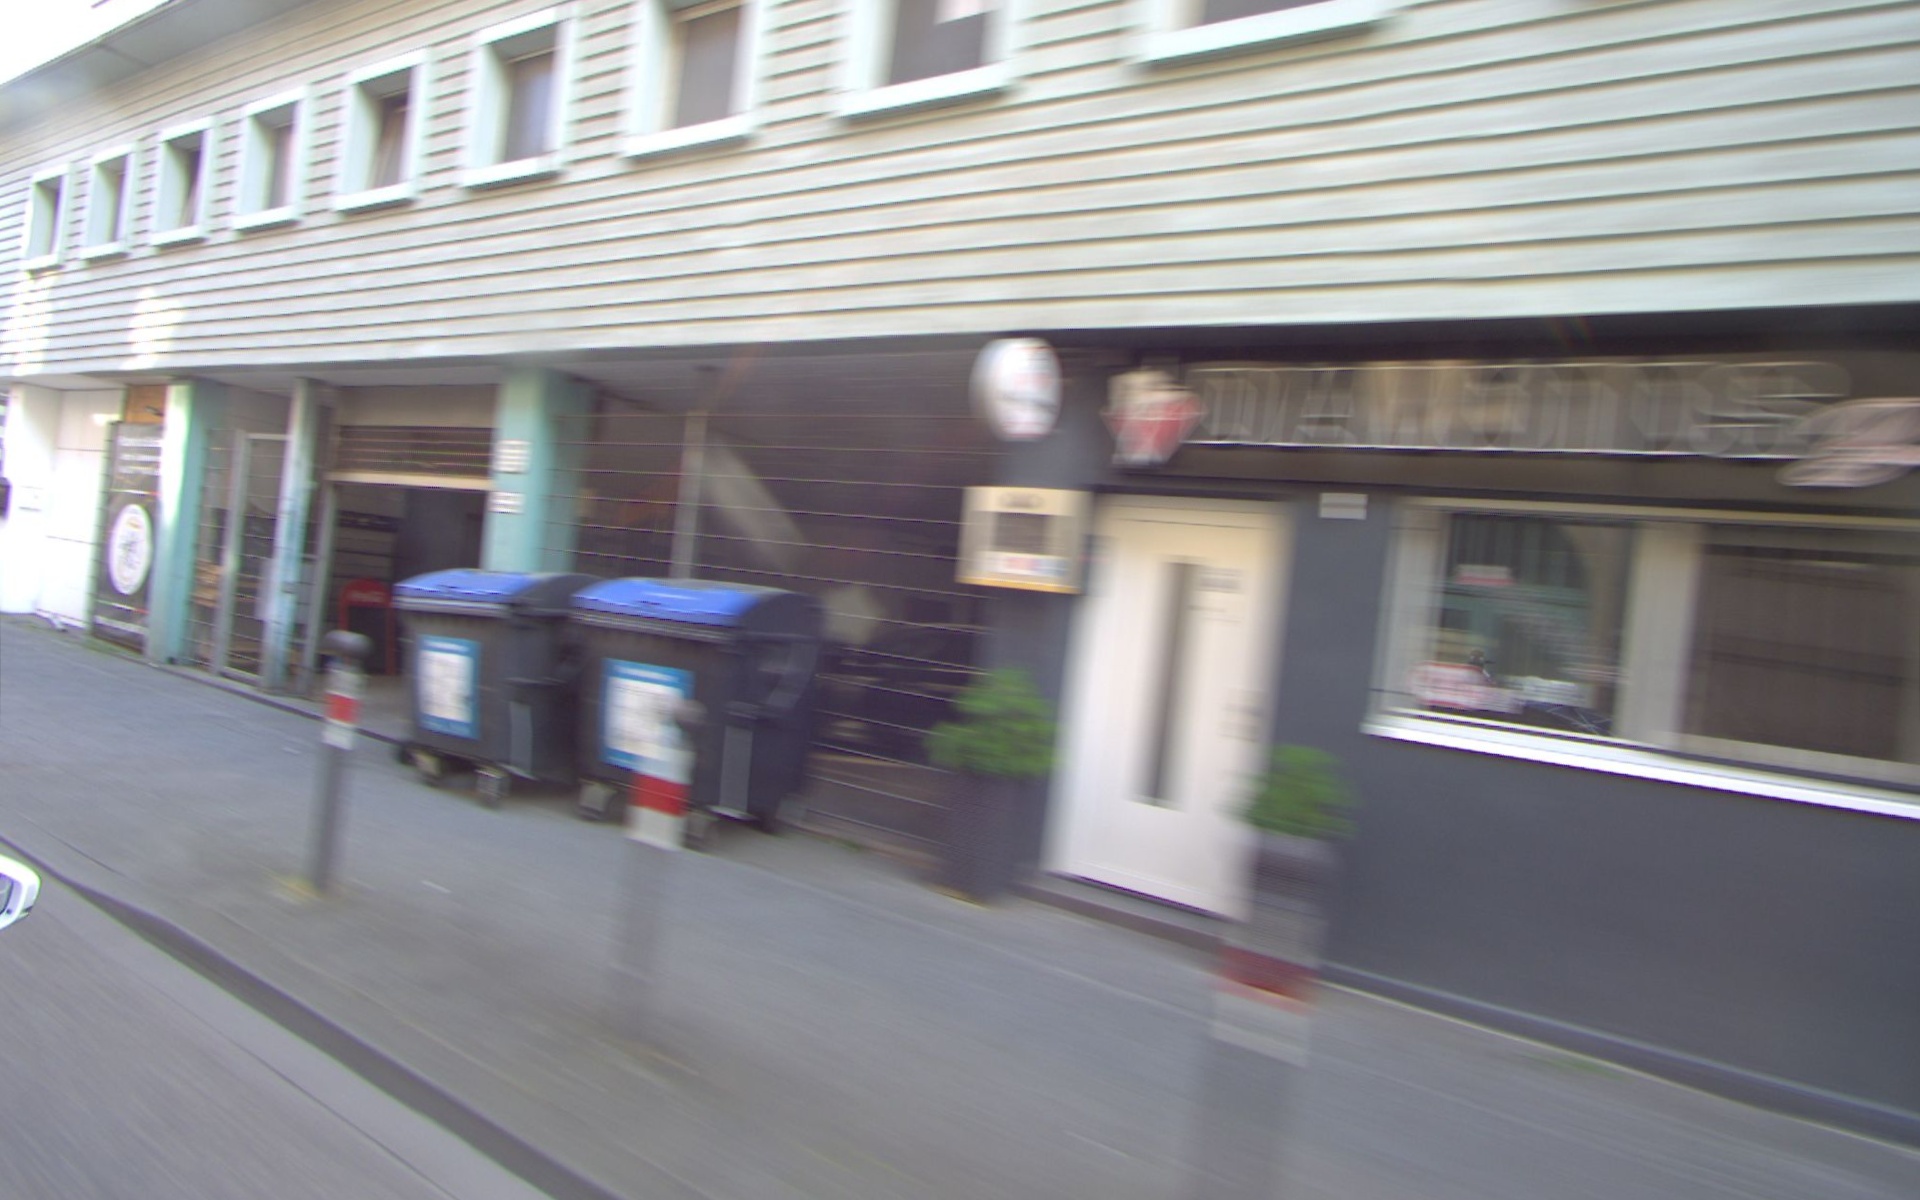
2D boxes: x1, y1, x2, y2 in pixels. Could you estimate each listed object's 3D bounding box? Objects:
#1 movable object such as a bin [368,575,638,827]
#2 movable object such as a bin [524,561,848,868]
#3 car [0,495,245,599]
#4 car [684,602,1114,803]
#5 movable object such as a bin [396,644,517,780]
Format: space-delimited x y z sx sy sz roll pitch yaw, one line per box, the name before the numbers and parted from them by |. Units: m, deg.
movable object such as a bin | -2.997 0.609 6.619 1.299 1.402 0.982 5 0 32
movable object such as a bin | -1.621 0.598 5.959 1.526 1.498 0.982 5 0 32
car | -16.551 -1.018 19.336 1.833 1.500 4.086 7 -1 29
car | -0.694 0.972 10.857 4.206 1.451 1.830 6 0 28
movable object such as a bin | -3.700 0.807 7.409 0.514 0.910 0.557 5 0 31
